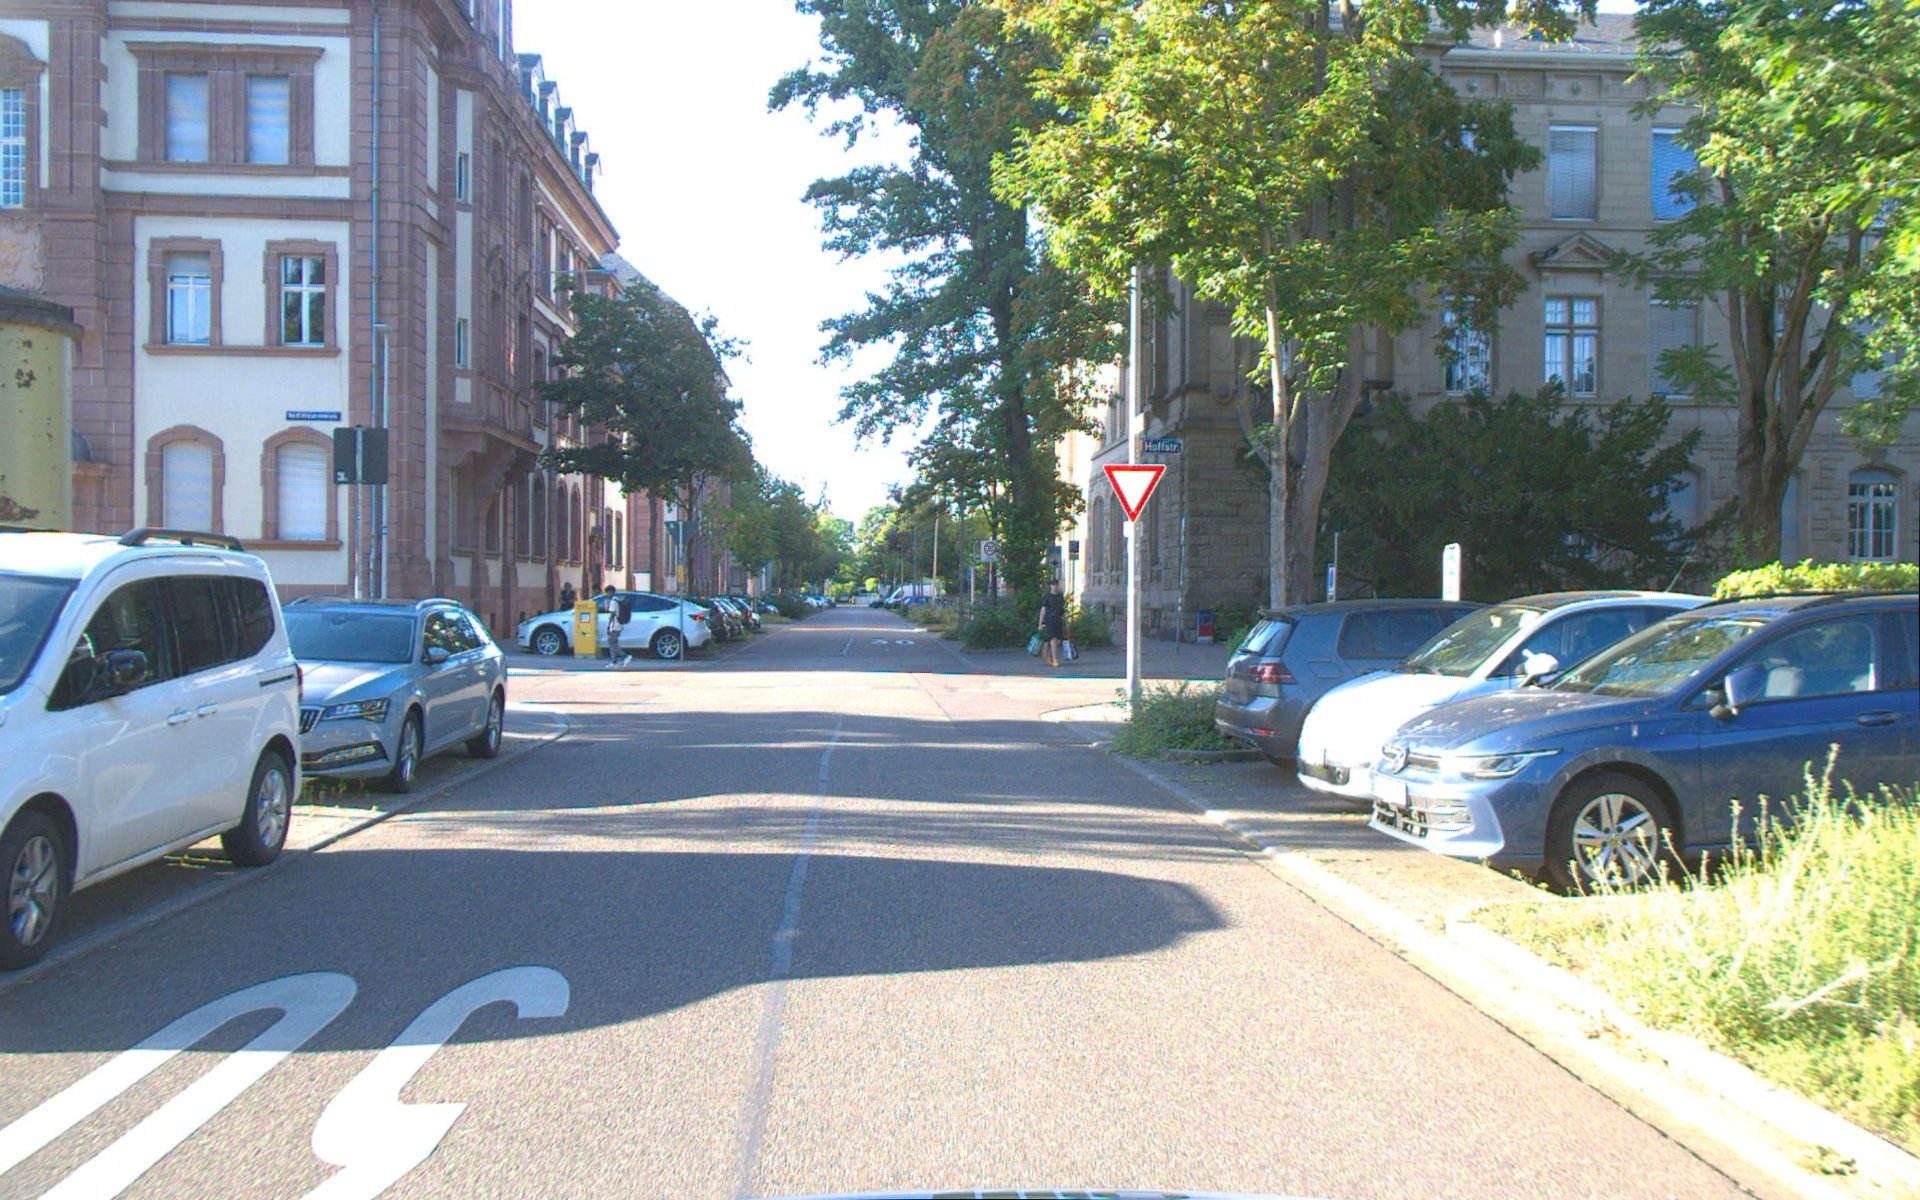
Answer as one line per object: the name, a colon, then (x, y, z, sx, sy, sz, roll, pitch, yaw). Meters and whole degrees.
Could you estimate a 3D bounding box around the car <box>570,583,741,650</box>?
car: (-8.243, 0.434, 45.064, 4.396, 1.747, 1.840, 1, 0, -6)

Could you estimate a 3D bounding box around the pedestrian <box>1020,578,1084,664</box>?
pedestrian: (2.059, 0.467, 37.015, 1.051, 1.890, 0.990, 1, 0, -35)

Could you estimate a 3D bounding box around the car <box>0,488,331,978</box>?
car: (-4.640, 0.495, 7.936, 1.746, 1.873, 4.549, 1, 0, -4)

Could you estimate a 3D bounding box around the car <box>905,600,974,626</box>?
car: (-1.367, 0.877, 111.286, 4.494, 1.636, 1.840, 1, 0, -6)

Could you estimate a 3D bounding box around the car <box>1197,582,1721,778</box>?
car: (4.118, 0.664, 14.117, 3.874, 1.543, 1.873, 0, -2, -2)

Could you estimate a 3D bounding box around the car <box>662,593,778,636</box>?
car: (-9.472, 0.576, 65.547, 4.396, 1.636, 1.840, 1, 0, -6)

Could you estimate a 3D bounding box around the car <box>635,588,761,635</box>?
car: (-9.478, 0.420, 60.134, 4.396, 1.636, 1.840, 1, 0, -6)

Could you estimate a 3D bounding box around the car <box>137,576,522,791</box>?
car: (-5.158, 0.609, 14.240, 1.745, 1.531, 4.550, 1, 0, -3)

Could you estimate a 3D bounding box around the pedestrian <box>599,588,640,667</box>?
pedestrian: (-7.107, 0.573, 34.559, 0.770, 1.634, 0.719, 1, -1, -9)

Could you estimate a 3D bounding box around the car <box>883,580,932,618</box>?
car: (-5.295, -0.112, 166.804, 4.790, 3.681, 1.840, 1, 0, -4)

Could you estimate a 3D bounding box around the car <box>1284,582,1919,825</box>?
car: (4.368, 0.673, 11.554, 3.873, 1.543, 1.674, 1, 0, -1)

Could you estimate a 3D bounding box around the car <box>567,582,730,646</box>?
car: (-8.832, 0.384, 47.187, 4.396, 1.747, 1.840, 1, 0, -6)

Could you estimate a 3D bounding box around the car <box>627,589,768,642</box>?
car: (-8.484, 0.494, 53.818, 4.396, 1.636, 1.840, 1, 0, -6)

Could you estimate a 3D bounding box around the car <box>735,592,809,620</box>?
car: (-11.506, 0.391, 101.435, 4.396, 1.636, 1.840, 1, 0, -6)

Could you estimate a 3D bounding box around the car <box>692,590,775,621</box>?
car: (-12.459, 0.311, 91.259, 4.396, 1.636, 1.840, 1, 0, -6)

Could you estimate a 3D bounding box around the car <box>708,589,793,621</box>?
car: (-11.087, 0.260, 87.739, 4.396, 1.636, 1.840, 1, 0, -6)

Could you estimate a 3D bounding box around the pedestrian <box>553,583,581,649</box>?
pedestrian: (-12.003, 0.497, 50.526, 0.704, 1.996, 0.786, 1, -1, -6)

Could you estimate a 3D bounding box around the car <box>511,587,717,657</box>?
car: (-8.397, 0.536, 40.494, 4.748, 1.622, 1.840, 1, 0, -6)

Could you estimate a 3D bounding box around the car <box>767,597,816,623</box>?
car: (-15.537, 0.923, 152.639, 4.494, 2.304, 1.840, 1, 0, -6)

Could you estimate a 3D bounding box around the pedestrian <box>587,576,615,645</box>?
pedestrian: (-10.560, 0.320, 48.642, 0.771, 1.996, 0.718, 1, -1, -12)

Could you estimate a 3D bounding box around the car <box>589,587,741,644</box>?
car: (-8.970, 0.472, 50.542, 4.396, 1.636, 1.840, 1, 0, -6)

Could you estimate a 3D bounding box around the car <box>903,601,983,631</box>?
car: (-0.969, 0.888, 93.834, 4.396, 1.636, 1.840, 1, 0, -6)

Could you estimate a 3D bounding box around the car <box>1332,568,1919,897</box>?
car: (4.497, 0.655, 9.121, 4.405, 1.576, 1.889, 1, 0, -6)
